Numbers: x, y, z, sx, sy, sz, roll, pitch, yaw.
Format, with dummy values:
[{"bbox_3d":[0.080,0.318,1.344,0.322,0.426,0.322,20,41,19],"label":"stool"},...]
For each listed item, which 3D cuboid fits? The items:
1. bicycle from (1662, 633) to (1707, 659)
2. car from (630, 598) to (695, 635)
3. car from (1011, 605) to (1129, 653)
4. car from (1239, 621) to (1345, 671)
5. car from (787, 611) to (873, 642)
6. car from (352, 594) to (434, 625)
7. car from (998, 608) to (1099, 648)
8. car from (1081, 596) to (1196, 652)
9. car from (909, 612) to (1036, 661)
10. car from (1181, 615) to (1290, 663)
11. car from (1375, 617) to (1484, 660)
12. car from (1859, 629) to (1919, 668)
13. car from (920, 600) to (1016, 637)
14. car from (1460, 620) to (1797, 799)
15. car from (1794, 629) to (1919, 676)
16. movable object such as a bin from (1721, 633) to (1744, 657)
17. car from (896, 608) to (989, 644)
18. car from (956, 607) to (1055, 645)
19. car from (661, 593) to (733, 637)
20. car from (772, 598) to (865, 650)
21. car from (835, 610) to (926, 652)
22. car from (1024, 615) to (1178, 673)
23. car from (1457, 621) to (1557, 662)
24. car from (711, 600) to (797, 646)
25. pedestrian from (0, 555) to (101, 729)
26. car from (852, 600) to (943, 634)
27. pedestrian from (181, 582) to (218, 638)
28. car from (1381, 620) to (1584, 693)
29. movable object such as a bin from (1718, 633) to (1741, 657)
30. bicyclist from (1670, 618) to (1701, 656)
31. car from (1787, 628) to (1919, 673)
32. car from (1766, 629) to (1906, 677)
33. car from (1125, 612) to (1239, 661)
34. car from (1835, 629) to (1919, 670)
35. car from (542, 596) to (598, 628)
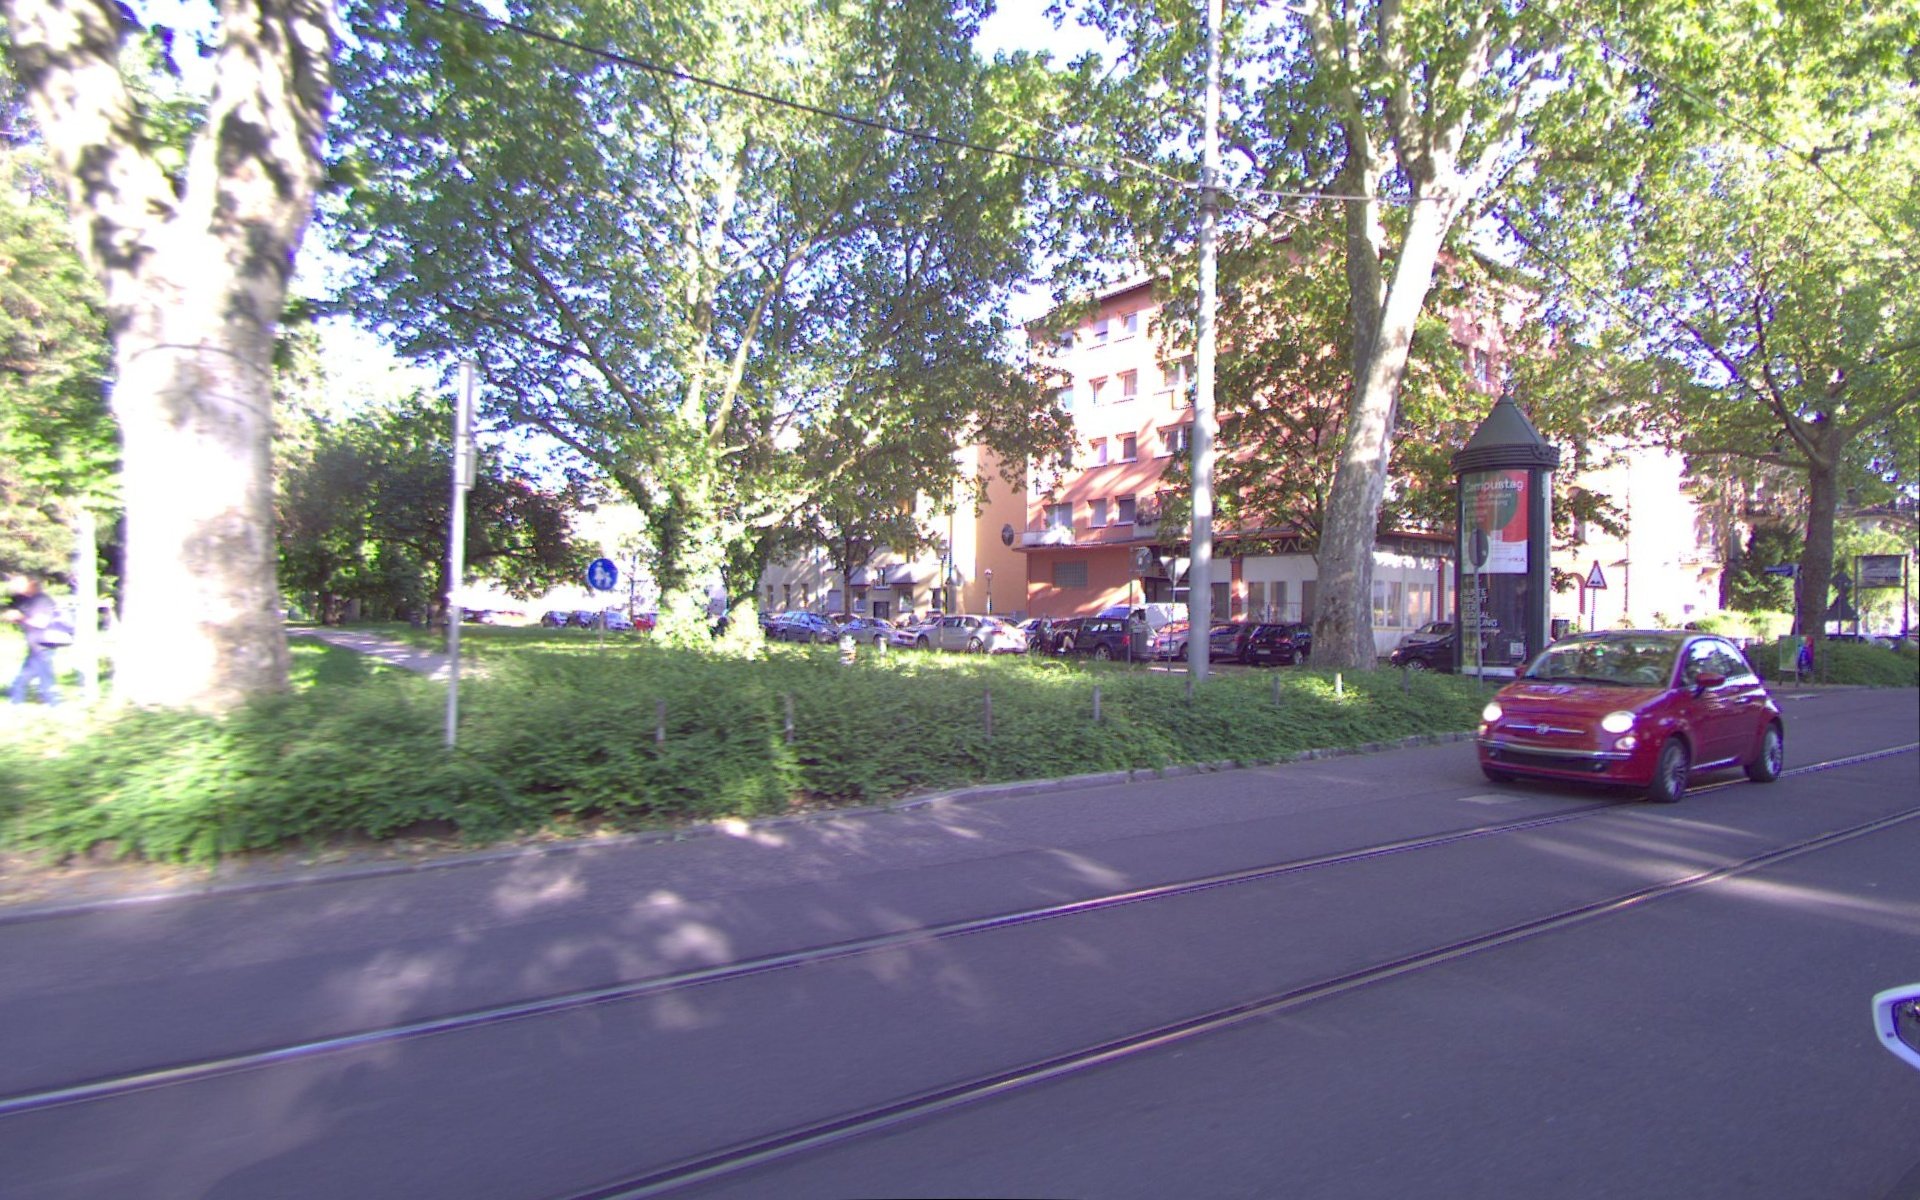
[{"bbox_3d":[29.823,1.882,41.339,2.564,1.012,0.959,2,0,-42],"label":"bicycle"},{"bbox_3d":[-17.373,0.933,58.509,1.983,2.040,4.692,2,0,-38],"label":"car"},{"bbox_3d":[4.590,1.196,41.481,4.879,1.869,1.977,2,0,-40],"label":"car"},{"bbox_3d":[11.162,1.493,33.656,1.793,1.513,3.976,2,0,44],"label":"car"},{"bbox_3d":[-7.235,1.498,56.226,4.452,1.639,1.926,2,0,-43],"label":"car"},{"bbox_3d":[-32.977,0.558,58.462,4.058,1.639,1.881,2,0,-31],"label":"car"},{"bbox_3d":[3.900,1.227,43.843,4.452,1.639,1.926,2,0,-43],"label":"car"},{"bbox_3d":[7.008,0.924,39.151,1.973,2.030,4.889,2,0,45],"label":"car"},{"bbox_3d":[0.365,1.213,34.572,1.811,1.469,4.425,2,0,-43],"label":"car"},{"bbox_3d":[9.699,1.348,35.196,3.974,1.546,1.973,2,0,-45],"label":"car"},{"bbox_3d":[17.092,1.403,36.515,3.854,1.426,1.935,2,0,-35],"label":"car"},{"bbox_3d":[39.411,2.022,40.843,1.836,1.484,3.960,2,0,-35],"label":"car"},{"bbox_3d":[0.431,0.869,47.549,4.452,1.639,1.926,2,0,-43],"label":"car"},{"bbox_3d":[6.622,0.958,9.874,3.439,1.463,1.650,2,-2,-35],"label":"car"},{"bbox_3d":[32.858,1.865,36.486,1.669,1.484,3.580,2,0,-33],"label":"car"},{"bbox_3d":[37.475,2.170,48.732,0.555,1.124,0.718,2,0,-34],"label":"movable object such as a bin"},{"bbox_3d":[-0.827,1.258,49.287,4.452,1.639,1.926,2,0,-43],"label":"car"},{"bbox_3d":[2.105,1.182,45.696,4.452,1.639,1.926,2,0,-43],"label":"car"},{"bbox_3d":[-14.339,0.775,54.558,2.026,2.227,4.693,2,0,-38],"label":"car"},{"bbox_3d":[-6.064,0.990,42.807,1.986,2.040,3.948,2,0,-43],"label":"car"},{"bbox_3d":[-3.130,1.169,38.995,1.675,1.469,3.676,2,0,-40],"label":"car"},{"bbox_3d":[4.187,1.285,30.431,1.846,1.509,4.487,2,0,-41],"label":"car"},{"bbox_3d":[21.651,1.634,39.724,3.961,1.507,1.935,2,0,-35],"label":"car"},{"bbox_3d":[-9.840,1.064,47.731,1.984,2.040,4.690,2,0,-40],"label":"car"},{"bbox_3d":[-10.035,0.450,11.056,0.743,1.833,0.641,2,0,-30],"label":"pedestrian"},{"bbox_3d":[-3.180,0.880,51.866,4.452,1.639,1.926,2,0,-43],"label":"car"},{"bbox_3d":[-23.822,0.310,31.475,0.701,1.695,0.775,2,0,-21],"label":"pedestrian"},{"bbox_3d":[12.432,1.283,24.086,1.729,1.468,3.953,1,0,-40],"label":"car"},{"bbox_3d":[37.051,2.157,48.344,0.537,1.124,0.720,2,0,-34],"label":"movable object such as a bin"},{"bbox_3d":[29.947,1.529,41.443,1.109,1.527,0.792,2,0,-42],"label":"bicyclist"},{"bbox_3d":[34.681,1.922,38.663,1.801,1.484,4.058,2,0,-33],"label":"car"},{"bbox_3d":[30.759,1.840,35.342,1.679,1.484,3.399,2,0,-33],"label":"car"},{"bbox_3d":[8.209,1.320,36.960,1.973,1.639,4.529,2,0,45],"label":"car"},{"bbox_3d":[36.909,1.959,39.504,1.741,1.484,3.399,2,0,-33],"label":"car"},{"bbox_3d":[-26.528,0.797,68.227,1.985,2.040,4.686,2,0,-42],"label":"car"}]
